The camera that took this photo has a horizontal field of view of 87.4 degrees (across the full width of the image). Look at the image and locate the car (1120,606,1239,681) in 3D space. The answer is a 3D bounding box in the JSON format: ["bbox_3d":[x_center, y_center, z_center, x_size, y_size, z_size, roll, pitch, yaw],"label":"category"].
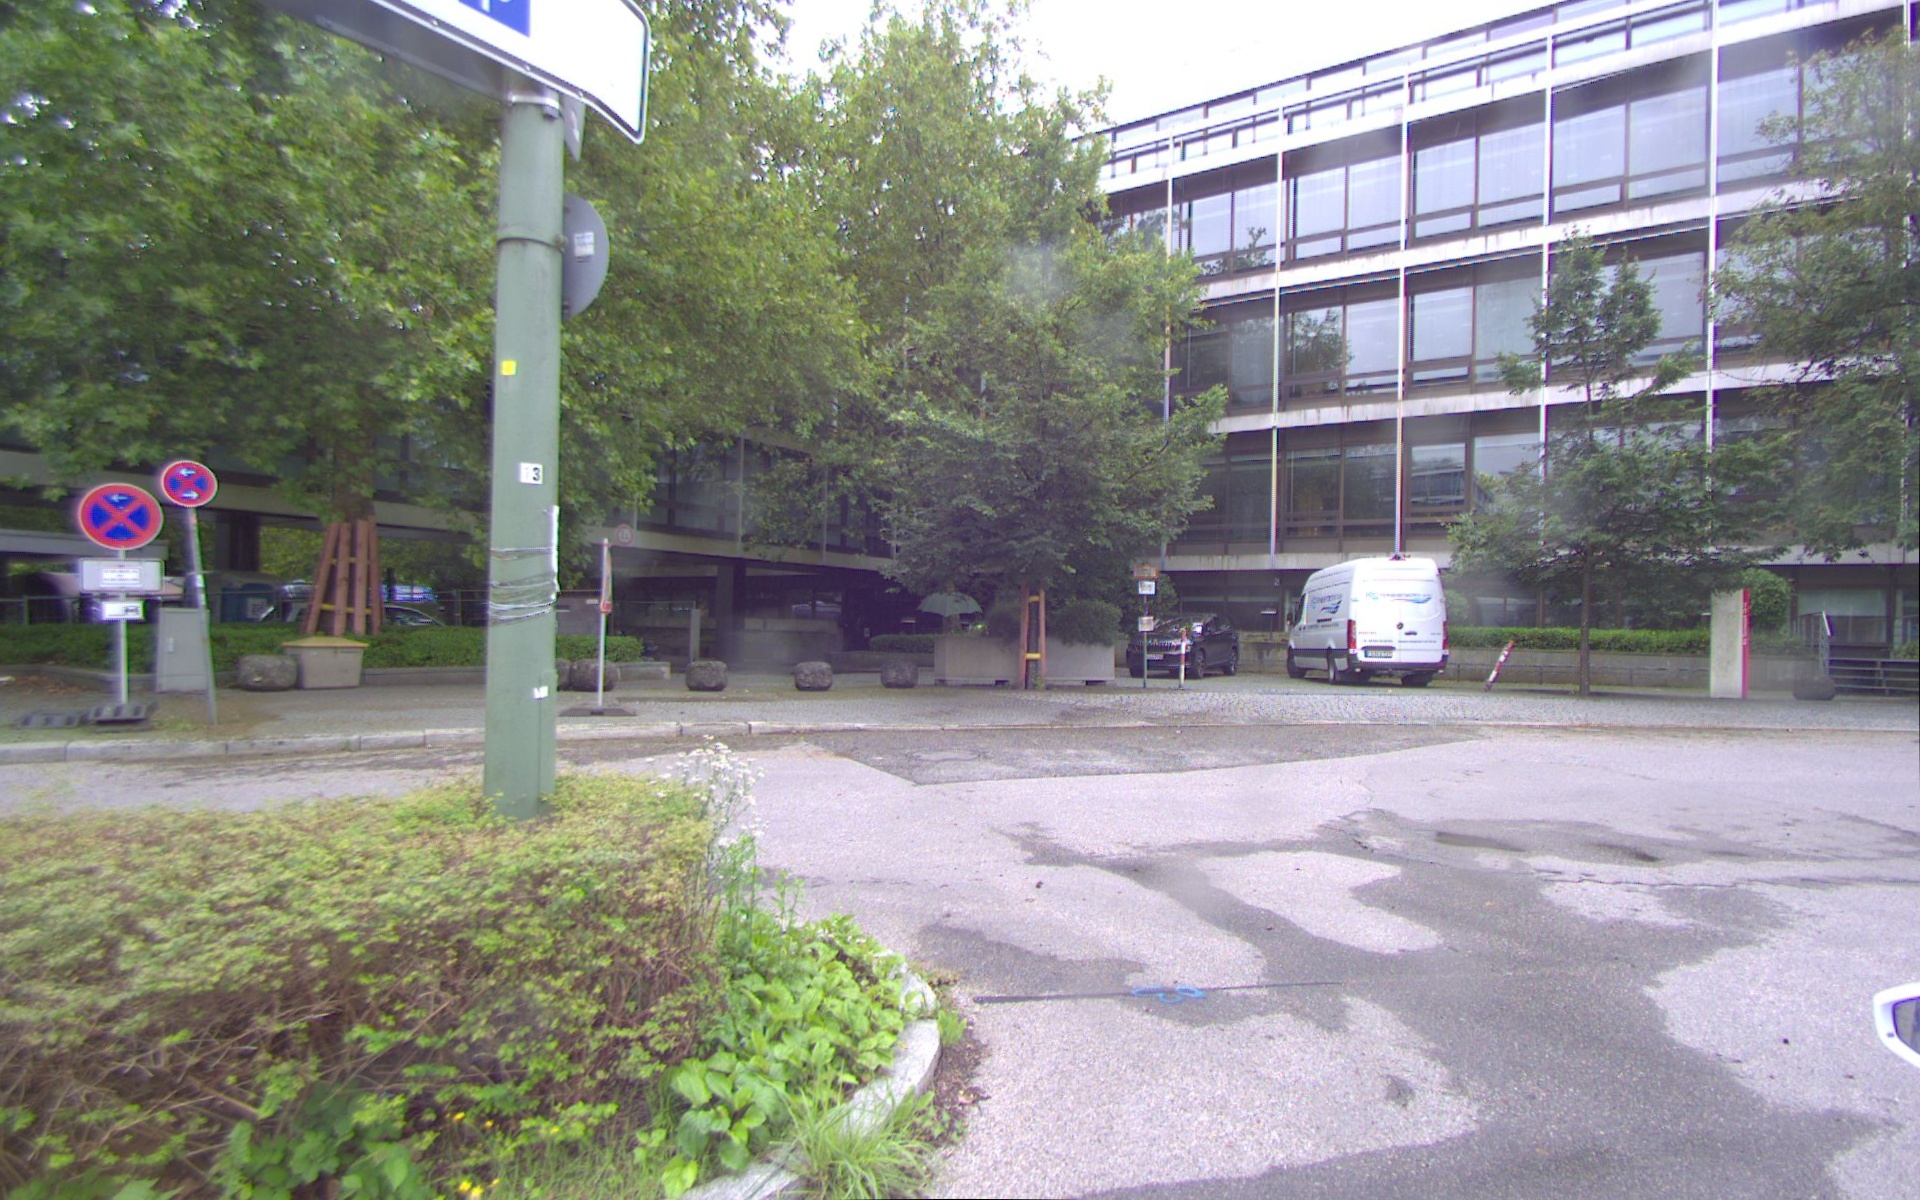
[{"bbox_3d":[5.774,1.086,26.054,1.912,1.744,4.232,0,-1,29],"label":"car"}]

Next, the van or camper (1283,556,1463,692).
[{"bbox_3d":[9.111,0.620,22.904,2.119,2.614,6.545,2,-3,7],"label":"van or camper"}]

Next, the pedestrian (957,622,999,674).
[{"bbox_3d":[0.464,1.239,26.010,0.913,1.295,0.540,1,-1,35],"label":"pedestrian"}]

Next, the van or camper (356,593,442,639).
[{"bbox_3d":[-32.975,0.939,59.016,4.567,2.630,2.275,0,-1,29],"label":"van or camper"}]

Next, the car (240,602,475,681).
[{"bbox_3d":[-12.694,0.846,21.370,1.881,1.493,3.850,0,-1,34],"label":"car"}]

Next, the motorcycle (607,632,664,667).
[{"bbox_3d":[-10.169,1.556,31.561,1.665,1.069,0.670,1,-1,-17],"label":"motorcycle"}]
